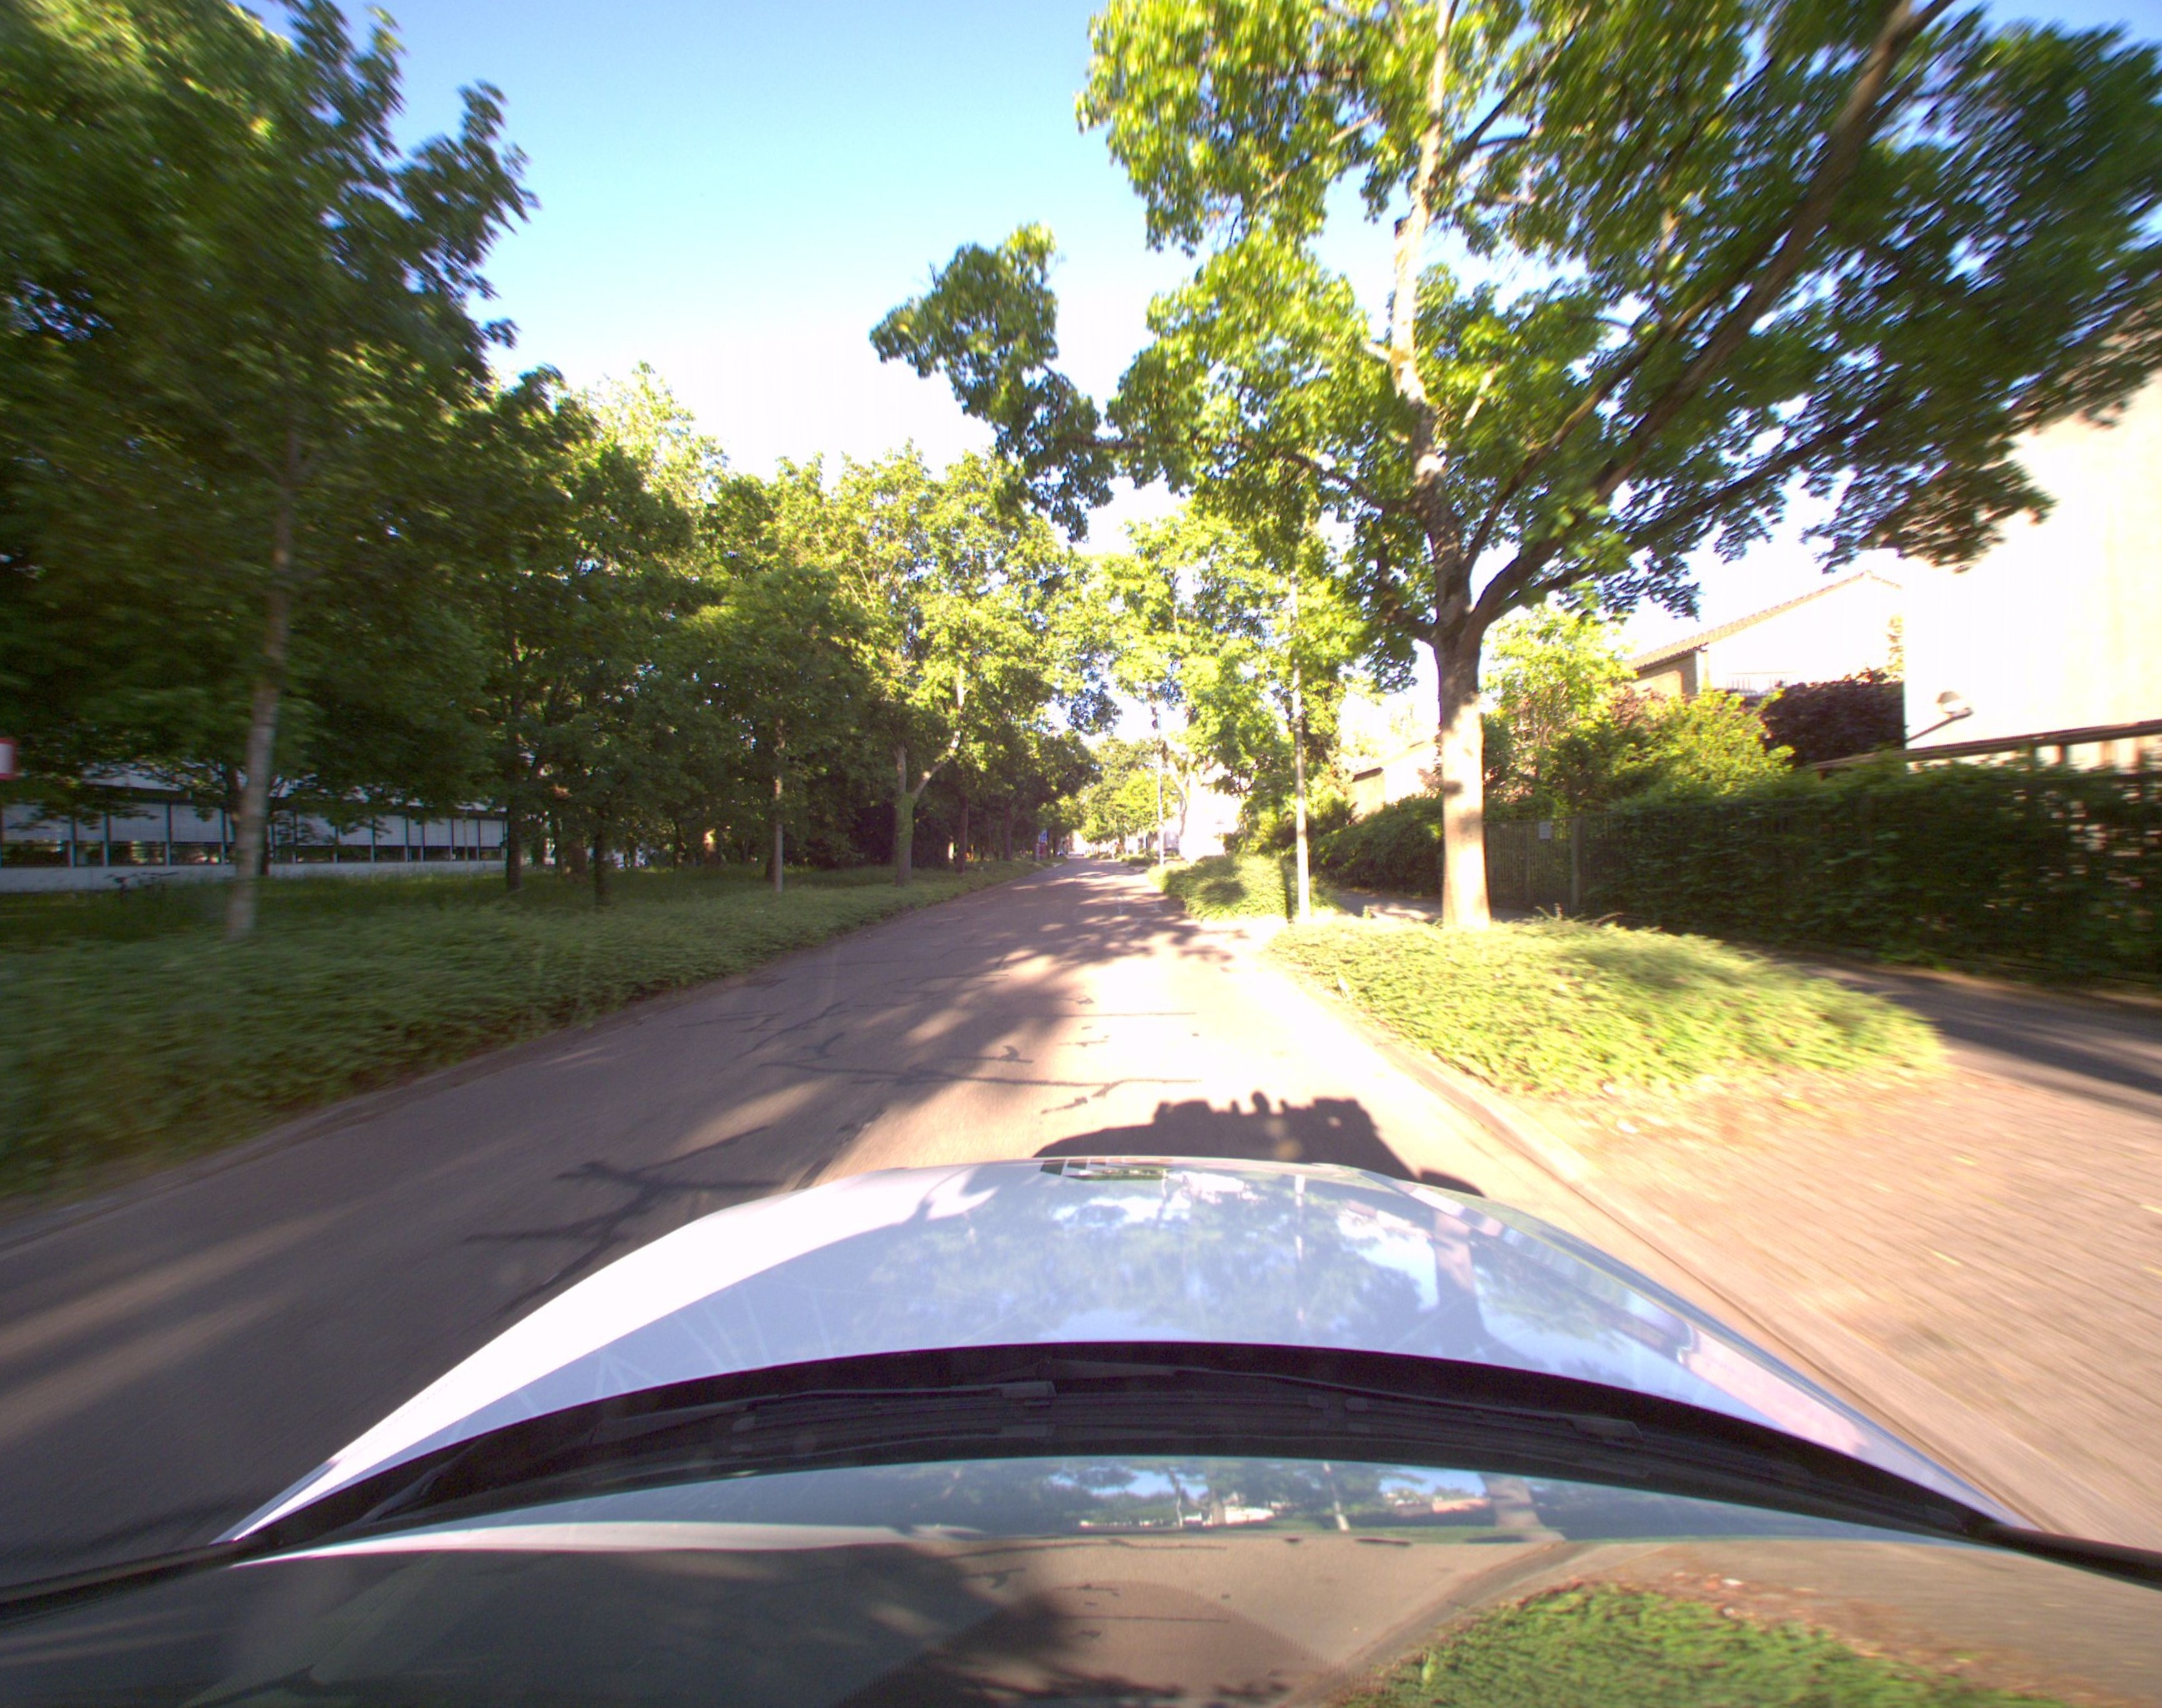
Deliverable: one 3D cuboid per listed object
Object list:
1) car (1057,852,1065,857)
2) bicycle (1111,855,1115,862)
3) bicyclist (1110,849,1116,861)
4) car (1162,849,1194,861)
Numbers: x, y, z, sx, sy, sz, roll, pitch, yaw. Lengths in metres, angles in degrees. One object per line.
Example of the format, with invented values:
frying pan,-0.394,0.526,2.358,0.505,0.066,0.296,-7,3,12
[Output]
car,-5.631,0.039,227.843,1.992,1.354,3.531,0,0,-8
bicycle,4.330,0.611,110.932,0.437,0.978,1.662,-1,1,1
bicyclist,4.355,0.155,110.925,0.864,1.641,1.115,0,1,1
car,13.688,0.166,114.733,4.327,1.353,2.149,2,4,7
